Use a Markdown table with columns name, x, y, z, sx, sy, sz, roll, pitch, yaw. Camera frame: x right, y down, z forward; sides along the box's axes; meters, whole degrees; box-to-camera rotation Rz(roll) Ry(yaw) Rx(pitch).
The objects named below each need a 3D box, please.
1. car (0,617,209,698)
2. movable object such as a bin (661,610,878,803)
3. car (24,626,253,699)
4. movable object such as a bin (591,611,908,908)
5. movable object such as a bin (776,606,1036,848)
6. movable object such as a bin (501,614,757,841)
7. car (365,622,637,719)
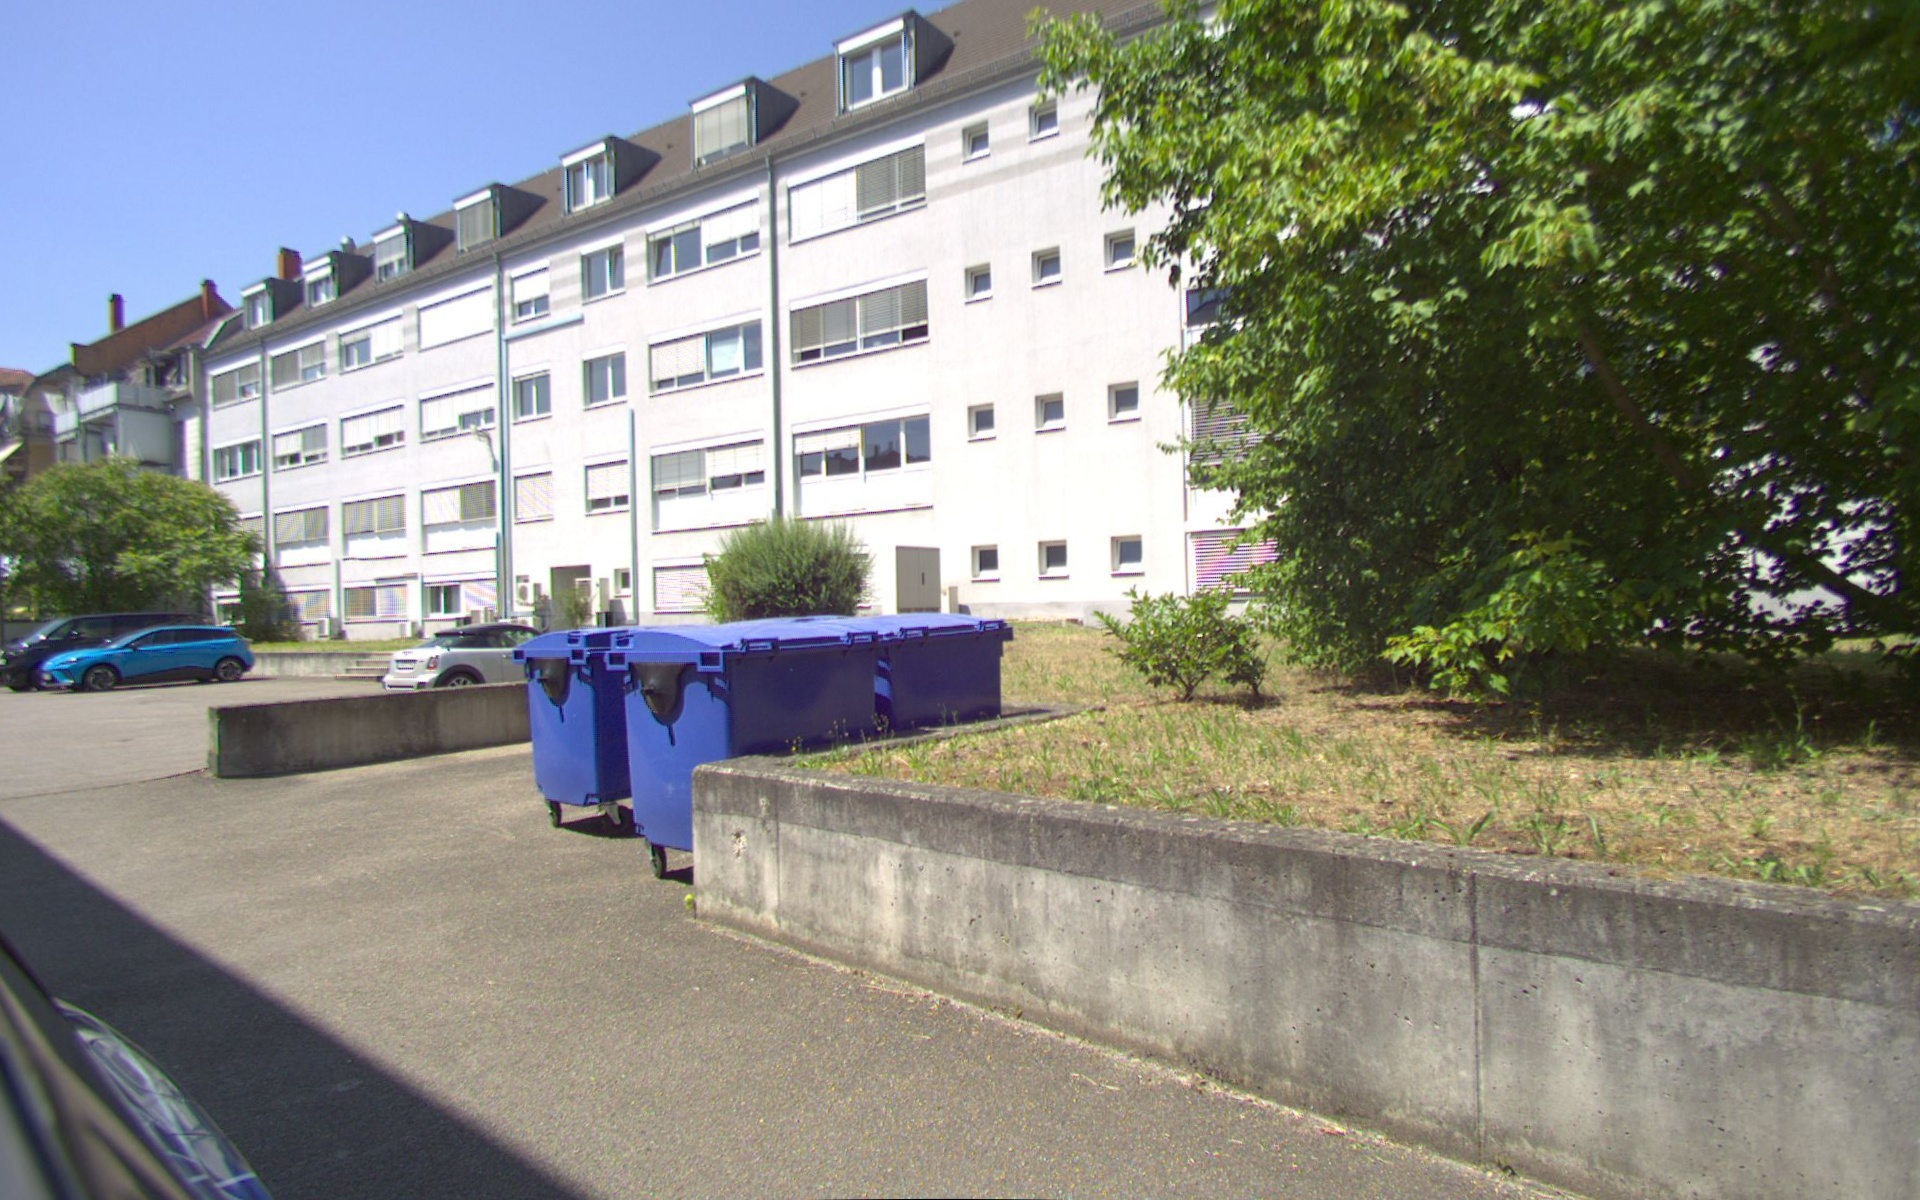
| name | x | y | z | sx | sy | sz | roll | pitch | yaw |
| --- | --- | --- | --- | --- | --- | --- | --- | --- | --- |
| car | -22.867 | 1.438 | 26.785 | 1.995 | 1.846 | 4.399 | -2 | 0 | 35 |
| movable object such as a bin | -1.488 | 0.776 | 7.979 | 1.103 | 1.338 | 1.242 | -2 | -1 | 38 |
| car | -20.532 | 1.496 | 25.453 | 1.854 | 1.565 | 4.123 | -2 | -1 | 33 |
| movable object such as a bin | -1.117 | 0.753 | 5.480 | 1.103 | 1.338 | 1.242 | -2 | -1 | 38 |
| movable object such as a bin | -0.329 | 0.733 | 6.522 | 1.103 | 1.338 | 1.242 | -2 | -1 | 38 |
| movable object such as a bin | -2.247 | 0.789 | 6.925 | 1.103 | 1.338 | 1.242 | -2 | -1 | 38 |
| car | -7.724 | 1.115 | 17.362 | 1.707 | 1.447 | 3.953 | -2 | -2 | 34 |
